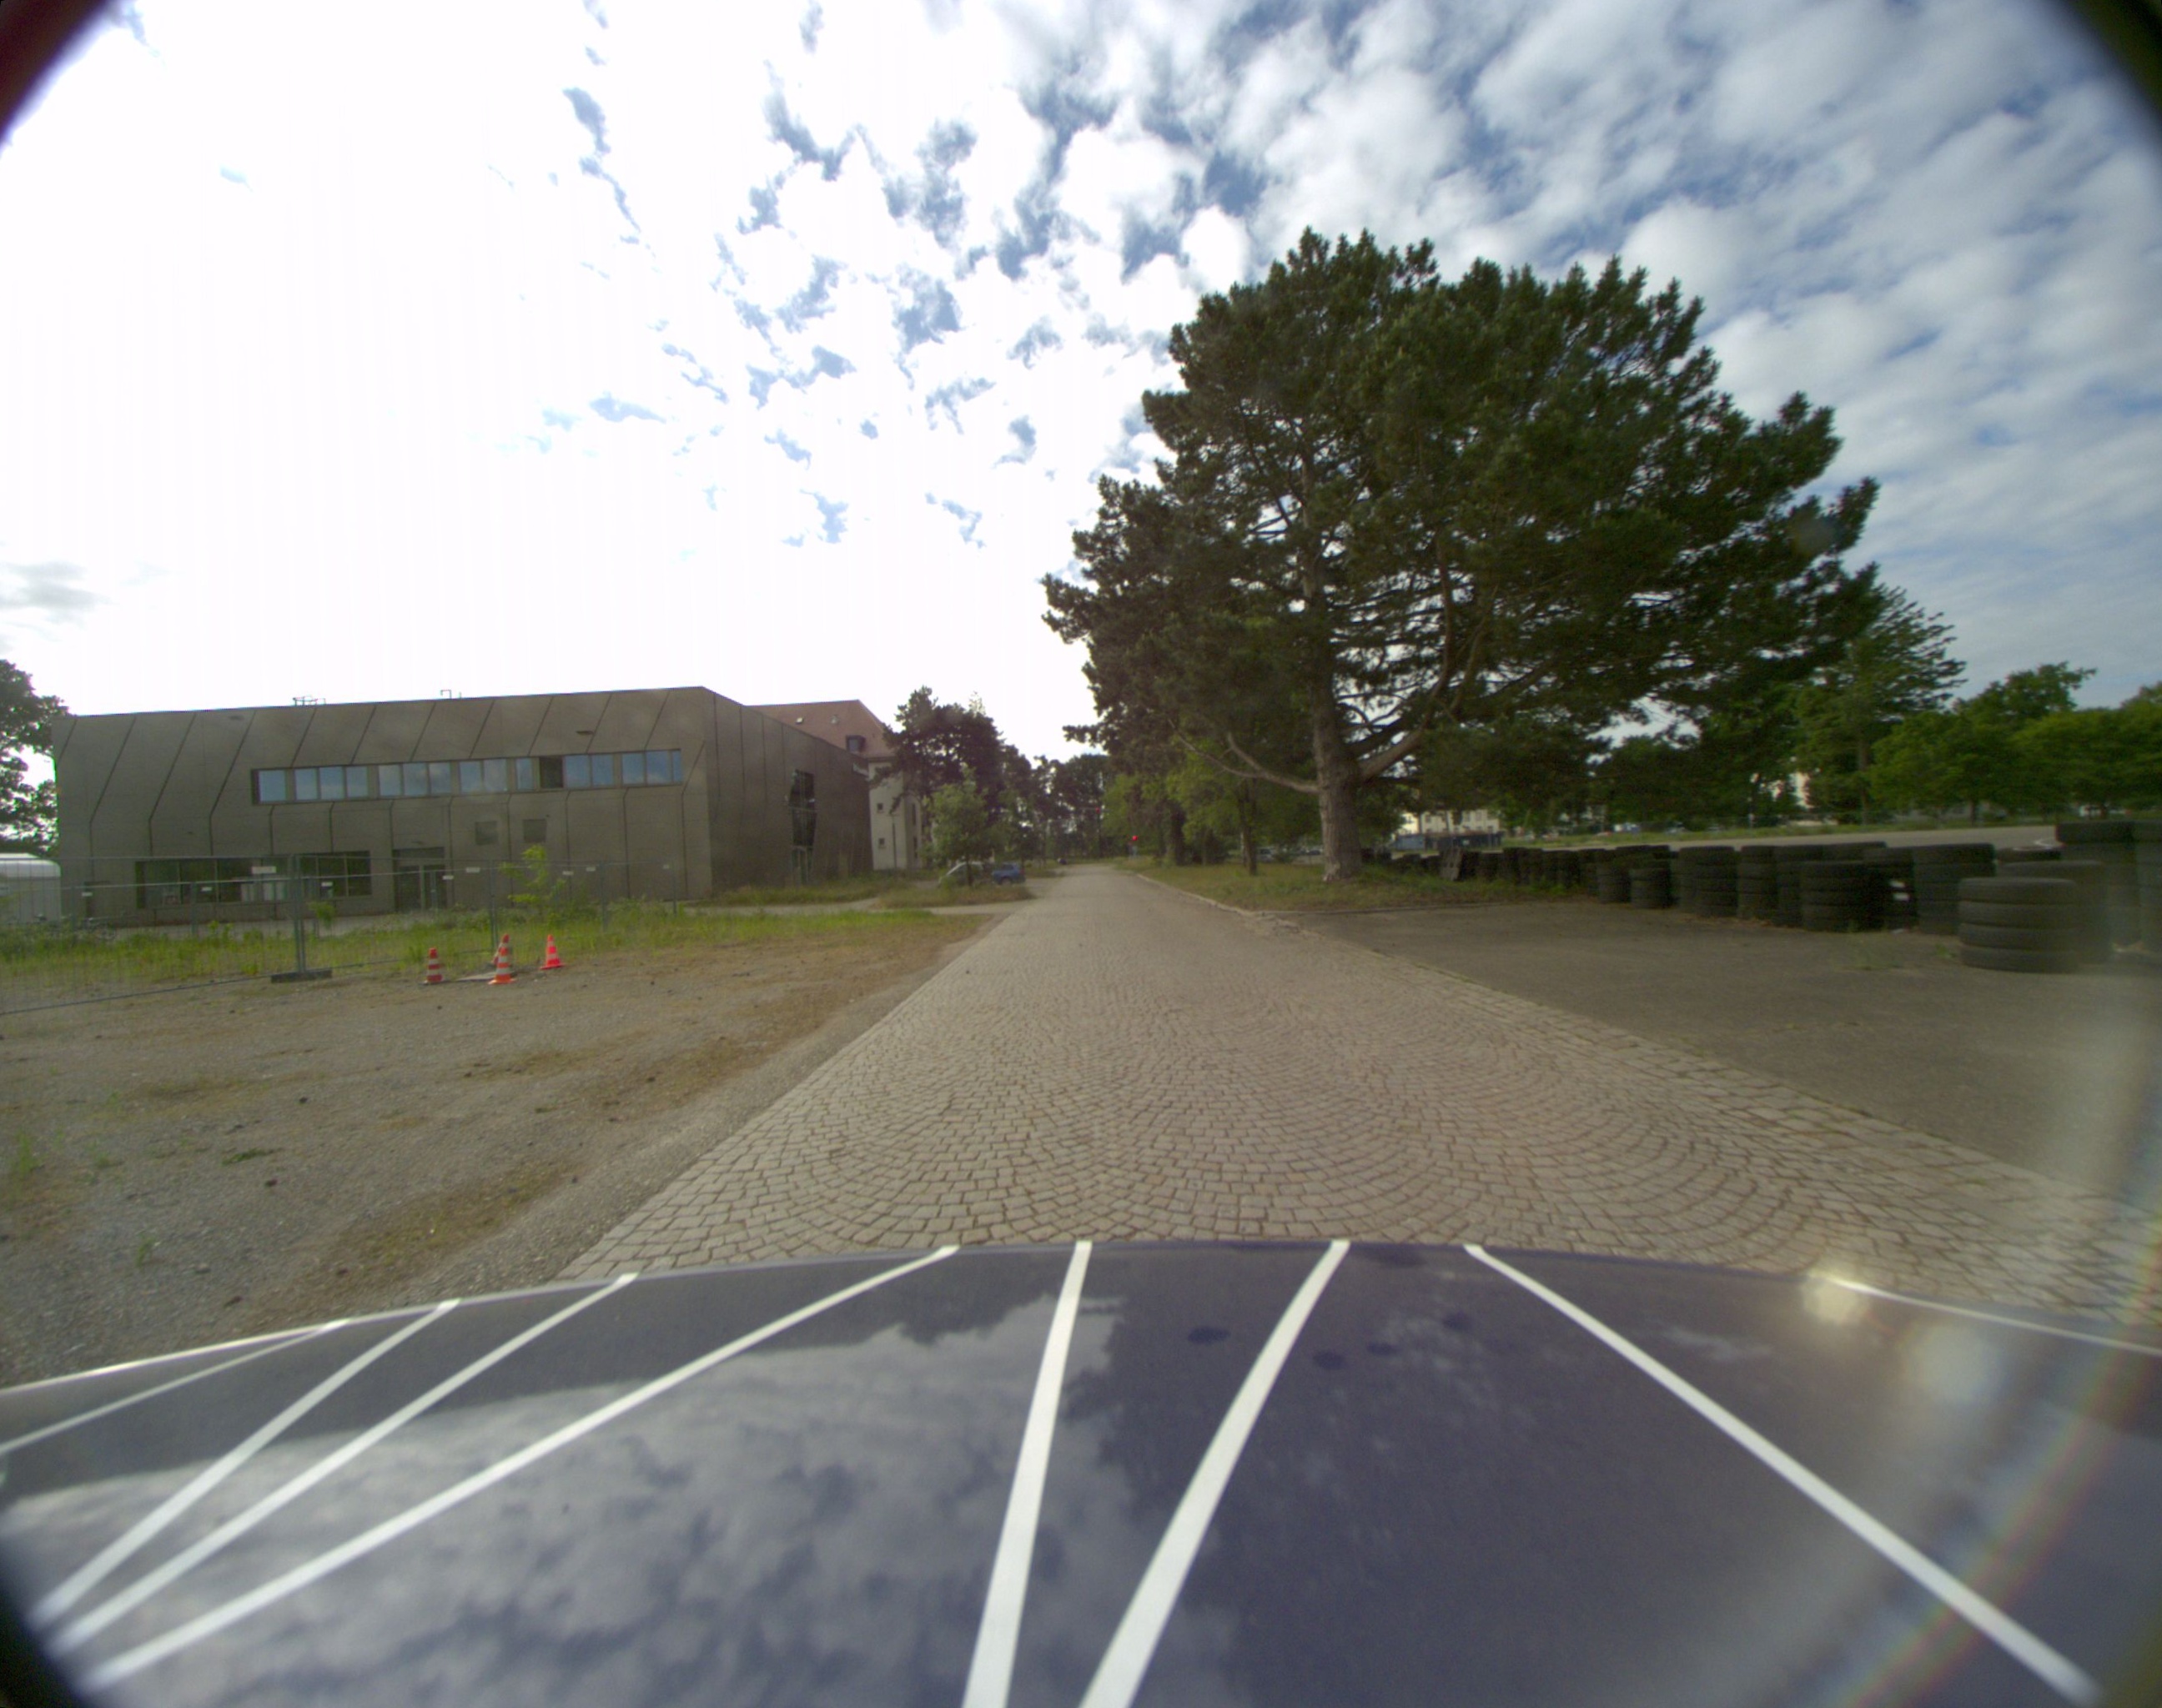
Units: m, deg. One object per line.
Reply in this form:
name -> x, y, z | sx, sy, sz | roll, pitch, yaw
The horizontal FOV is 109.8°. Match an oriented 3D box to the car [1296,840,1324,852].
car -> 28.772, -1.005, 95.553 | 1.999, 1.441, 4.451 | -3, 0, -3

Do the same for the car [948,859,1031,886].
car -> -5.185, 1.029, 43.412 | 4.537, 1.441, 1.931 | -1, 0, -2

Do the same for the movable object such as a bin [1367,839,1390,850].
movable object such as a bin -> 32.575, -1.043, 83.249 | 1.057, 1.065, 2.719 | -3, 0, -8

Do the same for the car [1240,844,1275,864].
car -> 13.310, -0.007, 57.525 | 1.670, 1.402, 3.723 | -3, 0, -2

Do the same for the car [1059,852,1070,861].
car -> -3.533, 0.573, 158.901 | 1.999, 1.777, 3.998 | -3, 0, -5

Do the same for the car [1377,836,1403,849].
car -> 43.280, -1.616, 106.416 | 1.749, 1.674, 3.803 | -3, 0, -5

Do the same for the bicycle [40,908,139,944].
bicycle -> -35.427, 2.568, 27.192 | 0.836, 1.019, 1.989 | -3, 1, 3

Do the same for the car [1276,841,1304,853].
car -> 26.193, -0.860, 95.474 | 1.999, 1.441, 4.451 | -3, 0, -3

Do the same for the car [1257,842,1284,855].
car -> 23.686, -0.712, 95.014 | 1.999, 1.441, 4.451 | -3, 0, -3

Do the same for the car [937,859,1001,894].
car -> -5.276, 1.052, 36.072 | 2.748, 1.573, 1.682 | -1, 0, 0
